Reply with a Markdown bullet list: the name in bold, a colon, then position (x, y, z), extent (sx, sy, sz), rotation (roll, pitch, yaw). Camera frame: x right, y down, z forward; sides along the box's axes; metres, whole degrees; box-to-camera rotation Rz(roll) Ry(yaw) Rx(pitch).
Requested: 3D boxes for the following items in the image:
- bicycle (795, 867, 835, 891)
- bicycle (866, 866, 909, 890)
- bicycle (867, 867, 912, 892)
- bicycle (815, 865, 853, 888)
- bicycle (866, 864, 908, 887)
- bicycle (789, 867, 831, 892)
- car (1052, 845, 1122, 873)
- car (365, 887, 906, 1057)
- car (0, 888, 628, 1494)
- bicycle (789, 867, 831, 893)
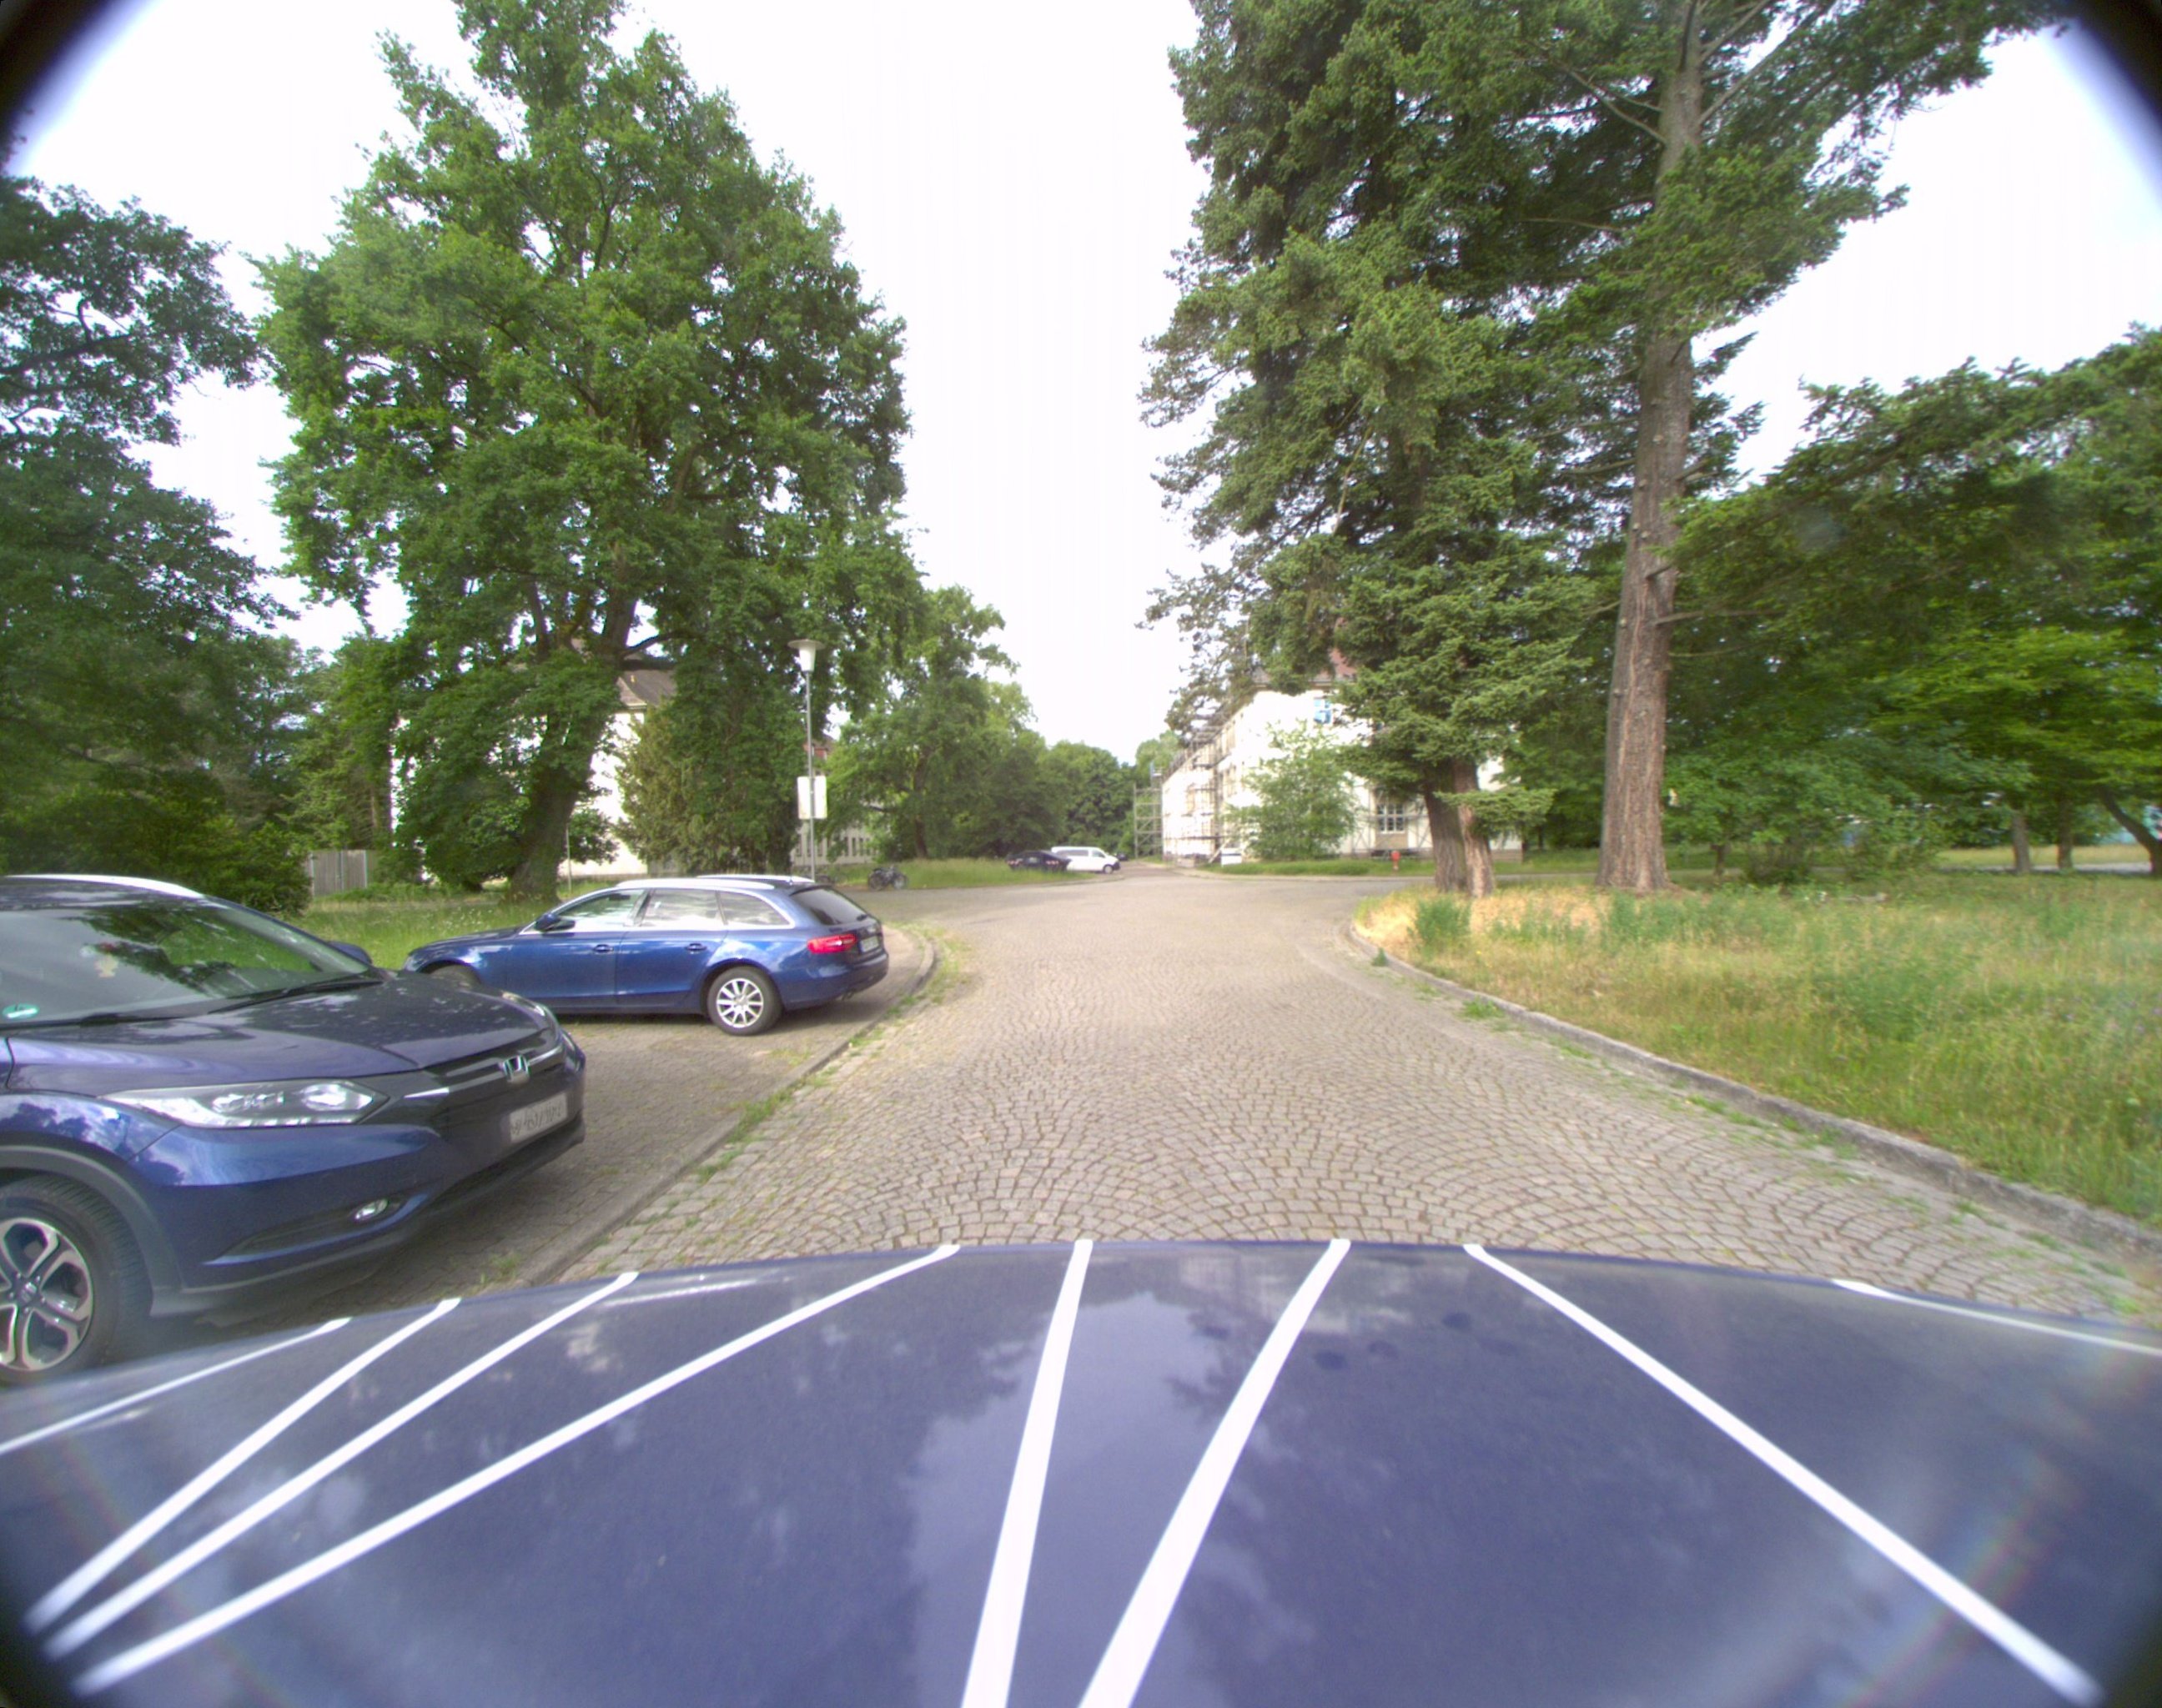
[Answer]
- **bicycle**: position (-13.589, 1.246, 38.852), extent (1.859, 1.116, 0.620), rotation (-3, 1, -22)
- **bicycle**: position (-9.645, 1.168, 37.903), extent (1.976, 1.070, 0.587), rotation (-3, 1, -27)
- **bicycle**: position (-9.143, 1.199, 36.319), extent (1.976, 1.070, 0.587), rotation (-3, 1, -27)
- **bicycle**: position (-13.364, 1.201, 41.070), extent (1.859, 1.116, 0.620), rotation (-3, 1, -22)
- **bicycle**: position (-10.203, 1.119, 40.012), extent (2.032, 1.070, 0.620), rotation (-3, 1, -22)
- **bicycle**: position (-13.246, 1.250, 37.190), extent (1.859, 1.116, 0.620), rotation (-3, 1, -22)
- **car**: position (0.459, 0.324, 56.518), extent (5.101, 2.007, 2.054), rotation (-1, 1, -1)
- **car**: position (-4.254, 1.095, 7.714), extent (4.480, 1.413, 1.785), rotation (0, 1, 4)
- **car**: position (-4.453, 1.031, 3.016), extent (4.172, 1.563, 1.793), rotation (-1, 2, 1)
- **bicycle**: position (-13.051, 1.249, 36.578), extent (1.859, 1.116, 0.620), rotation (-3, 1, -22)
